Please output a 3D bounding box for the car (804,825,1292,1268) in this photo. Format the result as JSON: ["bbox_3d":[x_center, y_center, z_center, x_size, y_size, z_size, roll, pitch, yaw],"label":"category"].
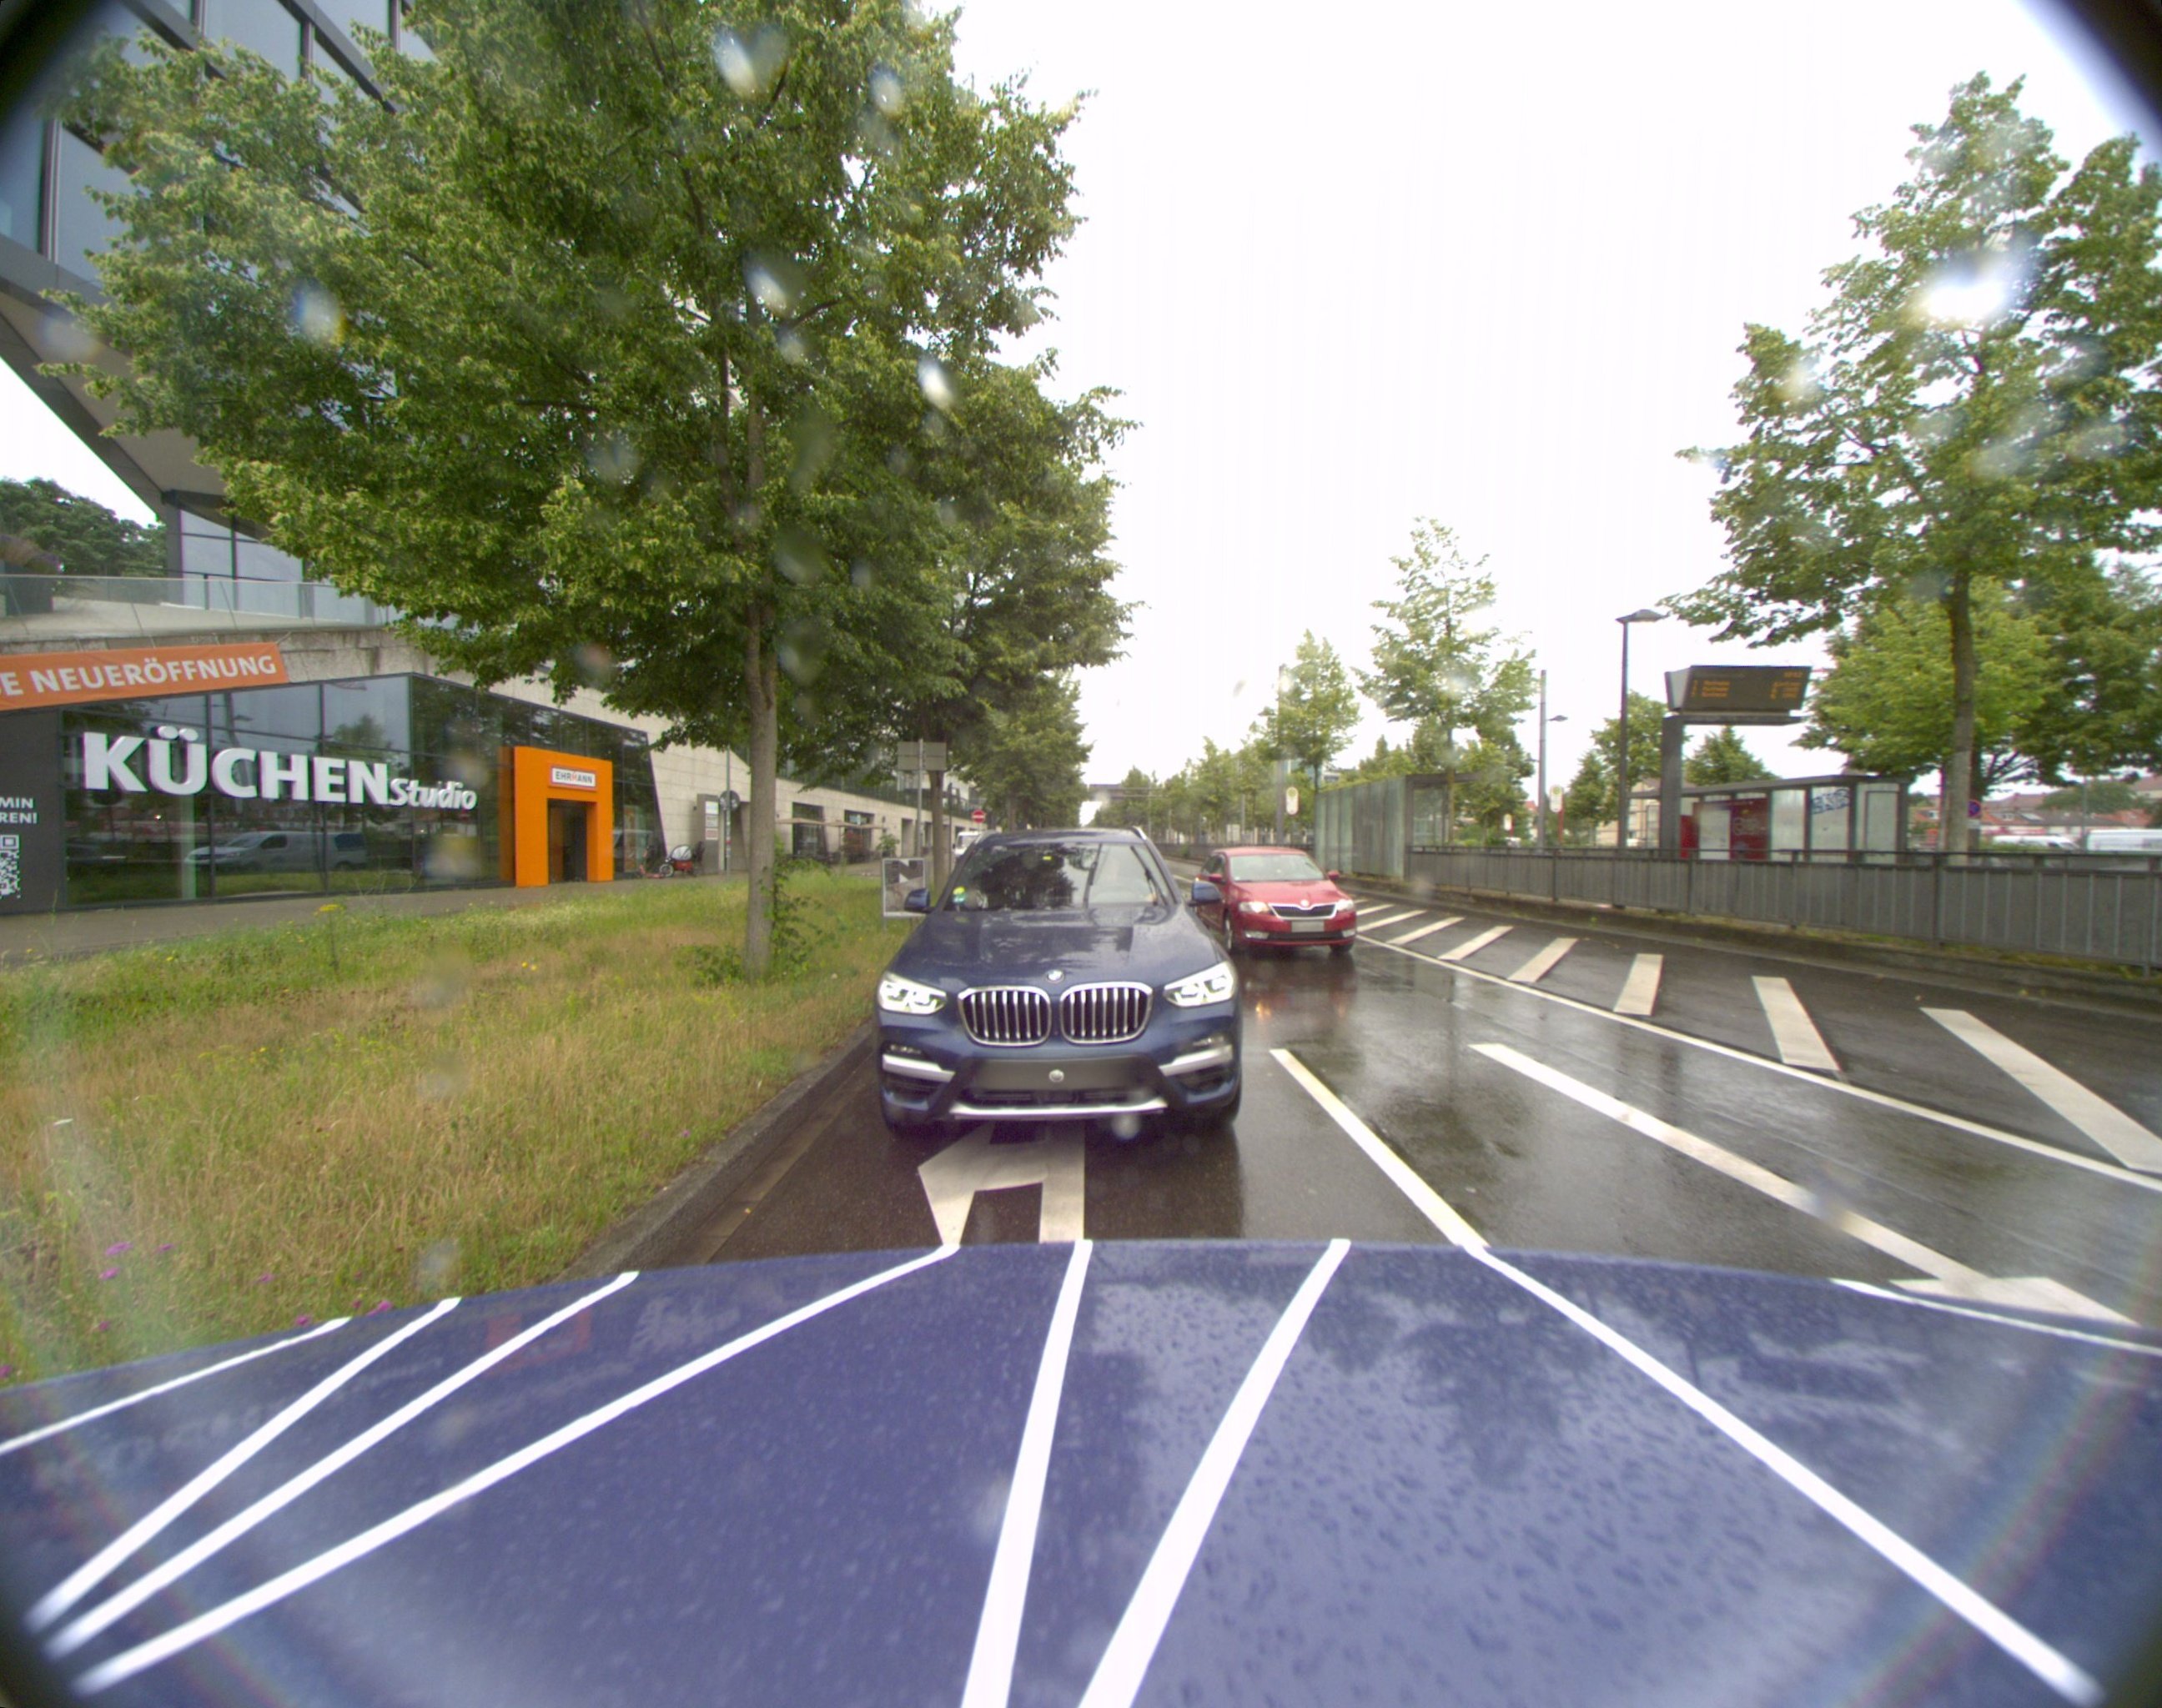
[{"bbox_3d":[-0.105,0.799,5.280,1.916,1.736,4.383,-2,0,1],"label":"car"}]

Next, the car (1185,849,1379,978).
[{"bbox_3d":[2.754,0.712,11.431,1.788,1.451,4.314,-2,1,1],"label":"car"}]

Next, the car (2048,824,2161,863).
[{"bbox_3d":[70.150,-0.726,50.280,2.356,2.462,7.635,-2,1,-3],"label":"car"}]

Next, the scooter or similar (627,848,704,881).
[{"bbox_3d":[-15.567,0.363,28.576,0.810,1.093,2.617,-2,1,18],"label":"scooter or similar"}]

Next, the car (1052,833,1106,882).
[{"bbox_3d":[-0.028,0.076,28.030,1.788,1.638,3.999,-2,1,1],"label":"car"}]

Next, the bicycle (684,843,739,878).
[{"bbox_3d":[-15.357,0.234,31.661,0.882,1.340,2.696,-2,1,1],"label":"bicycle"}]

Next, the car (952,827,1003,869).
[{"bbox_3d":[-5.900,-0.357,43.765,2.084,2.189,5.096,-2,1,1],"label":"car"}]
